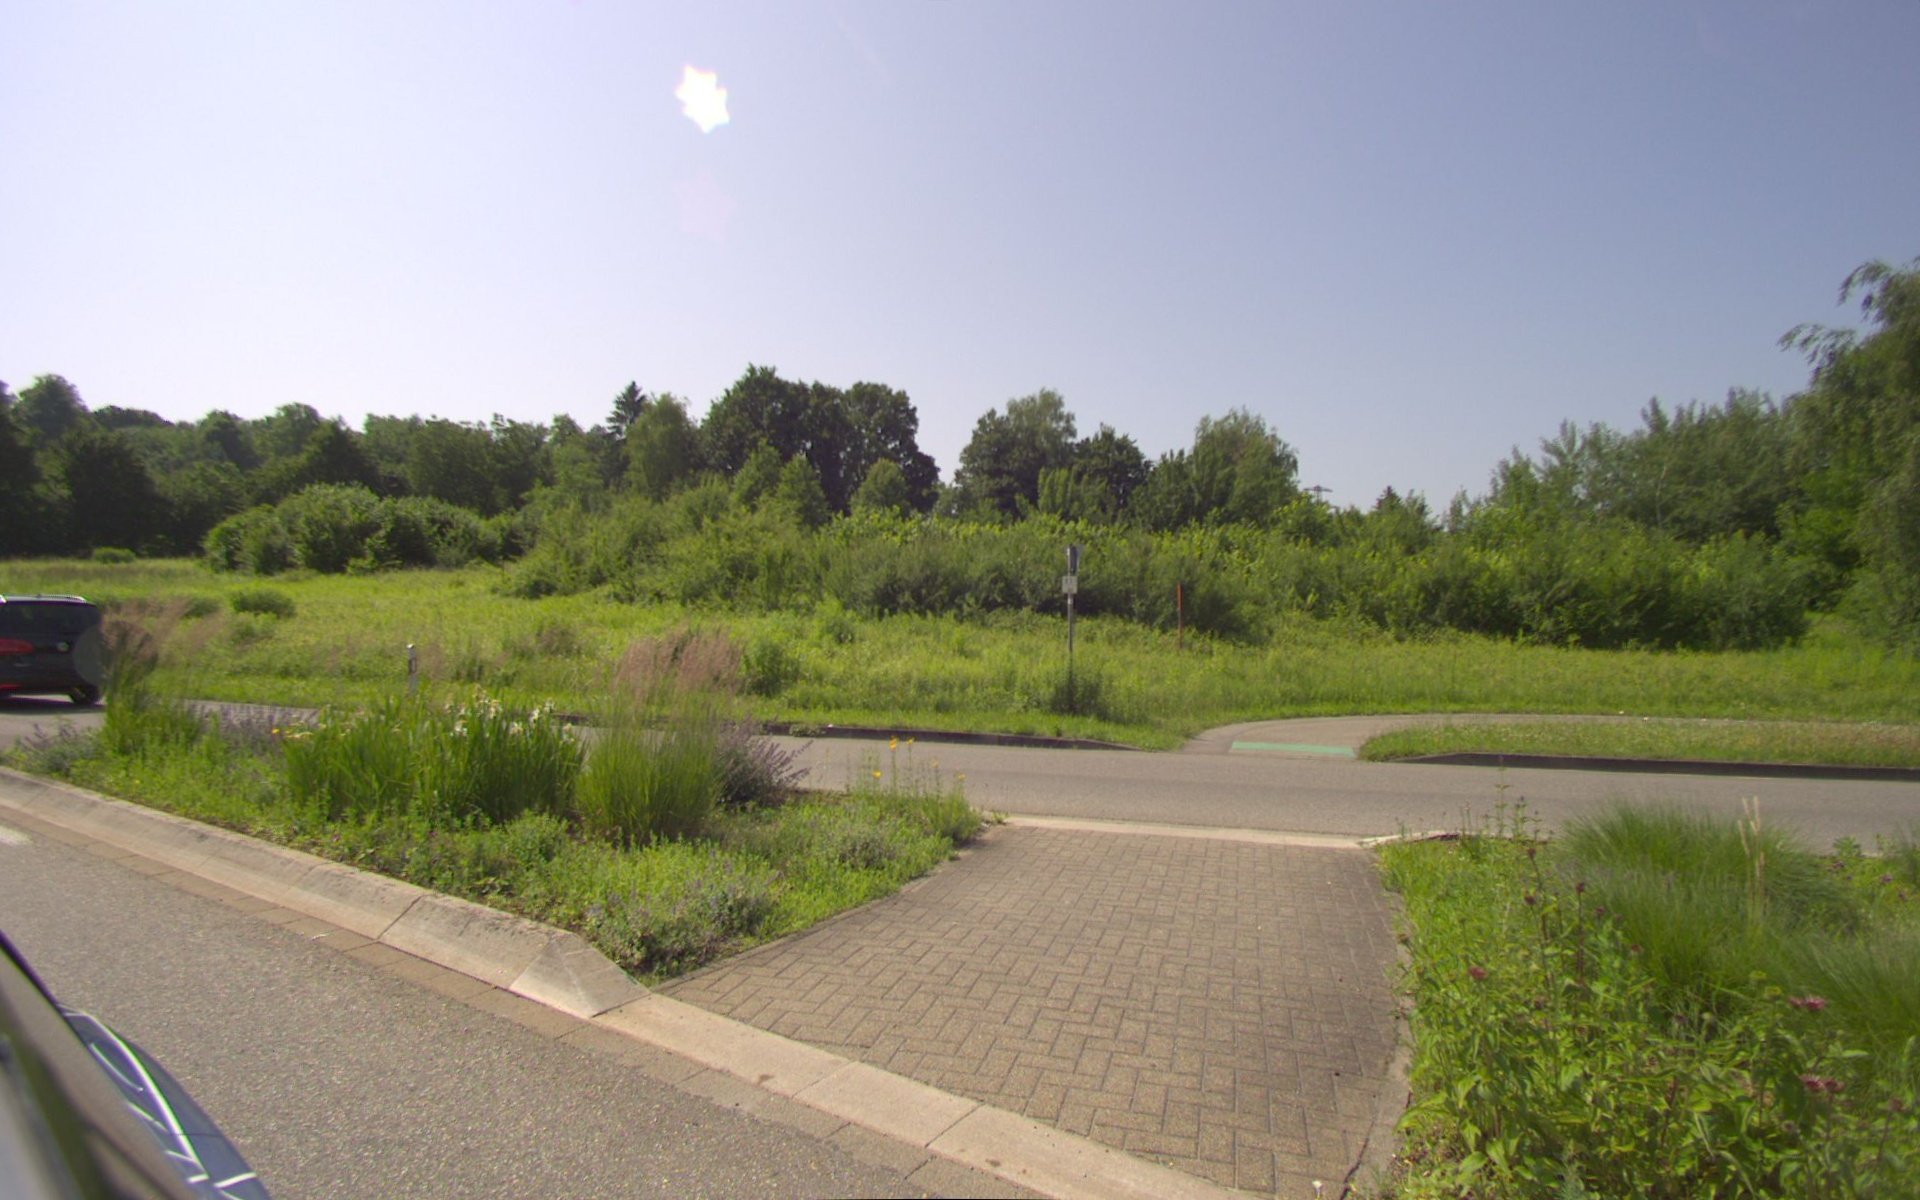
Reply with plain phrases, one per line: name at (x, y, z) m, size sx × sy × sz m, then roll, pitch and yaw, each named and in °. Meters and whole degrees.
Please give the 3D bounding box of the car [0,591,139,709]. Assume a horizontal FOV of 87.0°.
car at (-14.802, 0.723, 15.156) m, size 4.340 × 1.607 × 1.900 m, roll 0°, pitch -3°, yaw 20°
